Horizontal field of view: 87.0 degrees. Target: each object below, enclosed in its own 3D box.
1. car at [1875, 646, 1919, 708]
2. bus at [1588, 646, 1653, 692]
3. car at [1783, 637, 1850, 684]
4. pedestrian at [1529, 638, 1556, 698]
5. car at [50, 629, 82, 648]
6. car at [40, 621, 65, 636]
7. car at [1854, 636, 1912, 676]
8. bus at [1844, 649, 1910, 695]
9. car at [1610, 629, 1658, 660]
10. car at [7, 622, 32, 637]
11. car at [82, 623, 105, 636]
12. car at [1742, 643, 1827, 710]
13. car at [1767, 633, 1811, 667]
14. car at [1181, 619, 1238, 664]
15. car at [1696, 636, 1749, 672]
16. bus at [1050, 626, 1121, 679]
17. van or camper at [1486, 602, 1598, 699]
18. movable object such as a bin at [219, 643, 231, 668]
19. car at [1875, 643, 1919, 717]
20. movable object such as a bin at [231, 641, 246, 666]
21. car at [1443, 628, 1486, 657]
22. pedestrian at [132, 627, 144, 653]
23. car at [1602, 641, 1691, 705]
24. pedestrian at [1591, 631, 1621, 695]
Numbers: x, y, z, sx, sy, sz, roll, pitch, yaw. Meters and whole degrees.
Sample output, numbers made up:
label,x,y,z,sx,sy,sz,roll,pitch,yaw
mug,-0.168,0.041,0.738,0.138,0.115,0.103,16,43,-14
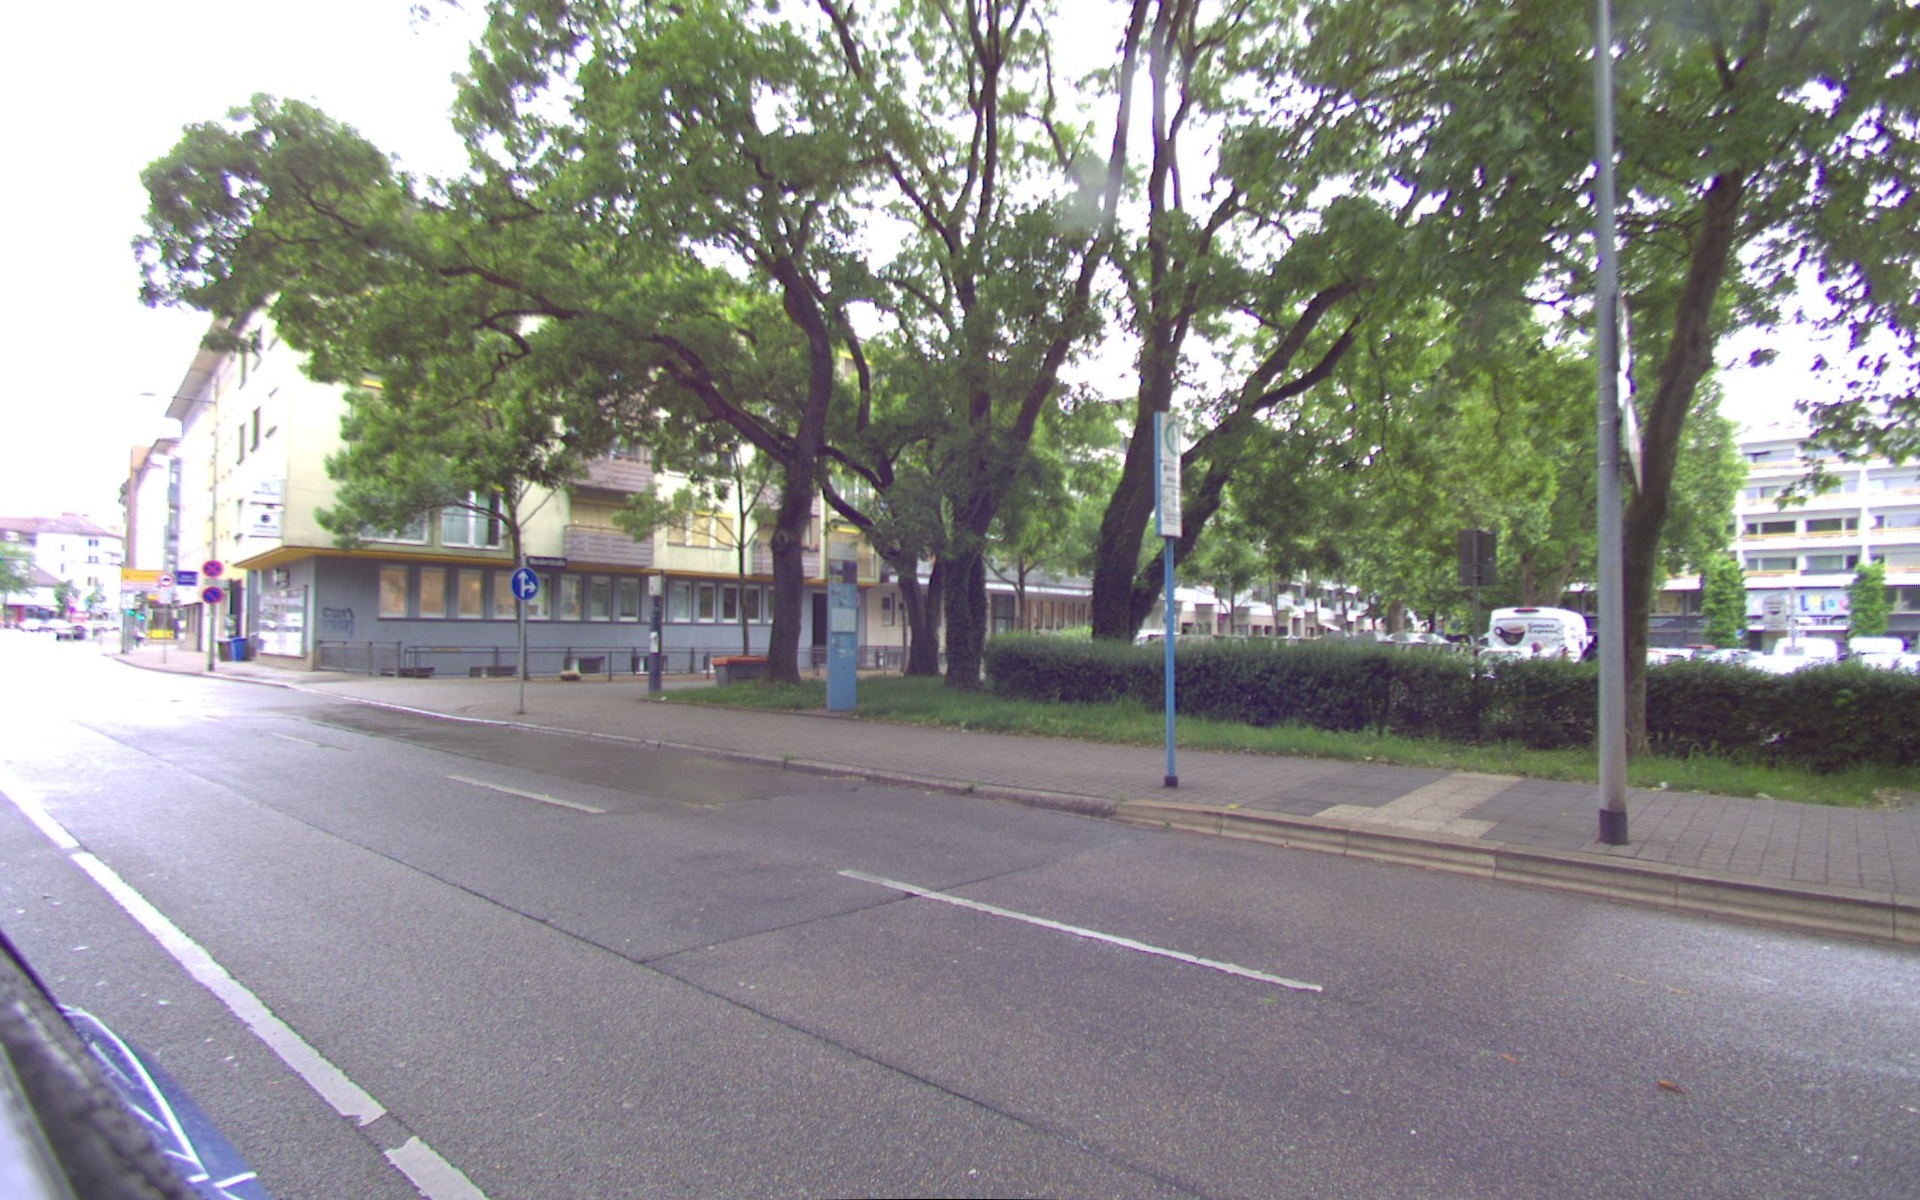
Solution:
label,x,y,z,sx,sy,sz,roll,pitch,yaw
car,23.417,1.867,24.806,1.391,1.446,3.227,-2,-4,41
bus,24.156,2.491,36.973,1.604,1.551,3.385,-1,-3,40
car,28.174,1.962,33.352,1.604,1.439,3.275,-1,-3,40
pedestrian,12.429,1.442,21.602,0.465,1.222,0.433,-1,0,34
car,-82.163,3.557,93.022,4.002,1.730,1.863,-2,-4,45
car,-113.840,3.567,126.950,4.002,1.866,1.971,-2,-4,45
car,40.501,2.419,44.460,1.639,1.536,3.161,-1,0,38
bus,33.157,2.572,36.657,1.604,1.551,3.385,-1,-3,40
car,32.466,2.155,48.730,1.604,1.439,3.275,-1,-3,40
car,-112.014,3.529,120.515,4.002,1.653,1.971,-2,-4,45
car,-110.621,3.756,129.176,4.002,1.670,1.842,-2,-4,45
car,19.238,1.745,23.564,1.391,1.446,3.227,-2,-4,41
car,41.986,2.499,51.301,1.639,1.536,3.161,-1,0,38
car,11.915,1.983,48.236,1.988,2.029,3.967,0,-3,24
car,35.721,2.483,47.363,1.837,1.435,3.780,-1,0,39
bus,4.837,2.002,38.686,1.703,1.939,3.697,0,-3,24
van or camper,16.847,1.442,29.211,2.097,2.556,4.367,-1,-3,40
movable object such as a bin,-30.300,2.286,41.741,0.333,1.037,0.354,3,-4,-42
car,19.929,1.633,20.944,1.391,1.446,3.227,-2,-4,41
movable object such as a bin,-29.849,2.203,41.862,0.409,1.037,0.354,3,-4,-42
car,27.248,2.289,54.659,1.428,1.439,2.926,-2,-1,40
pedestrian,-59.214,2.866,72.887,0.586,1.858,0.565,3,-4,-42
car,16.733,1.742,24.620,1.391,1.446,3.227,-2,-4,41
pedestrian,12.659,1.230,19.834,0.484,1.222,0.433,-1,0,34
